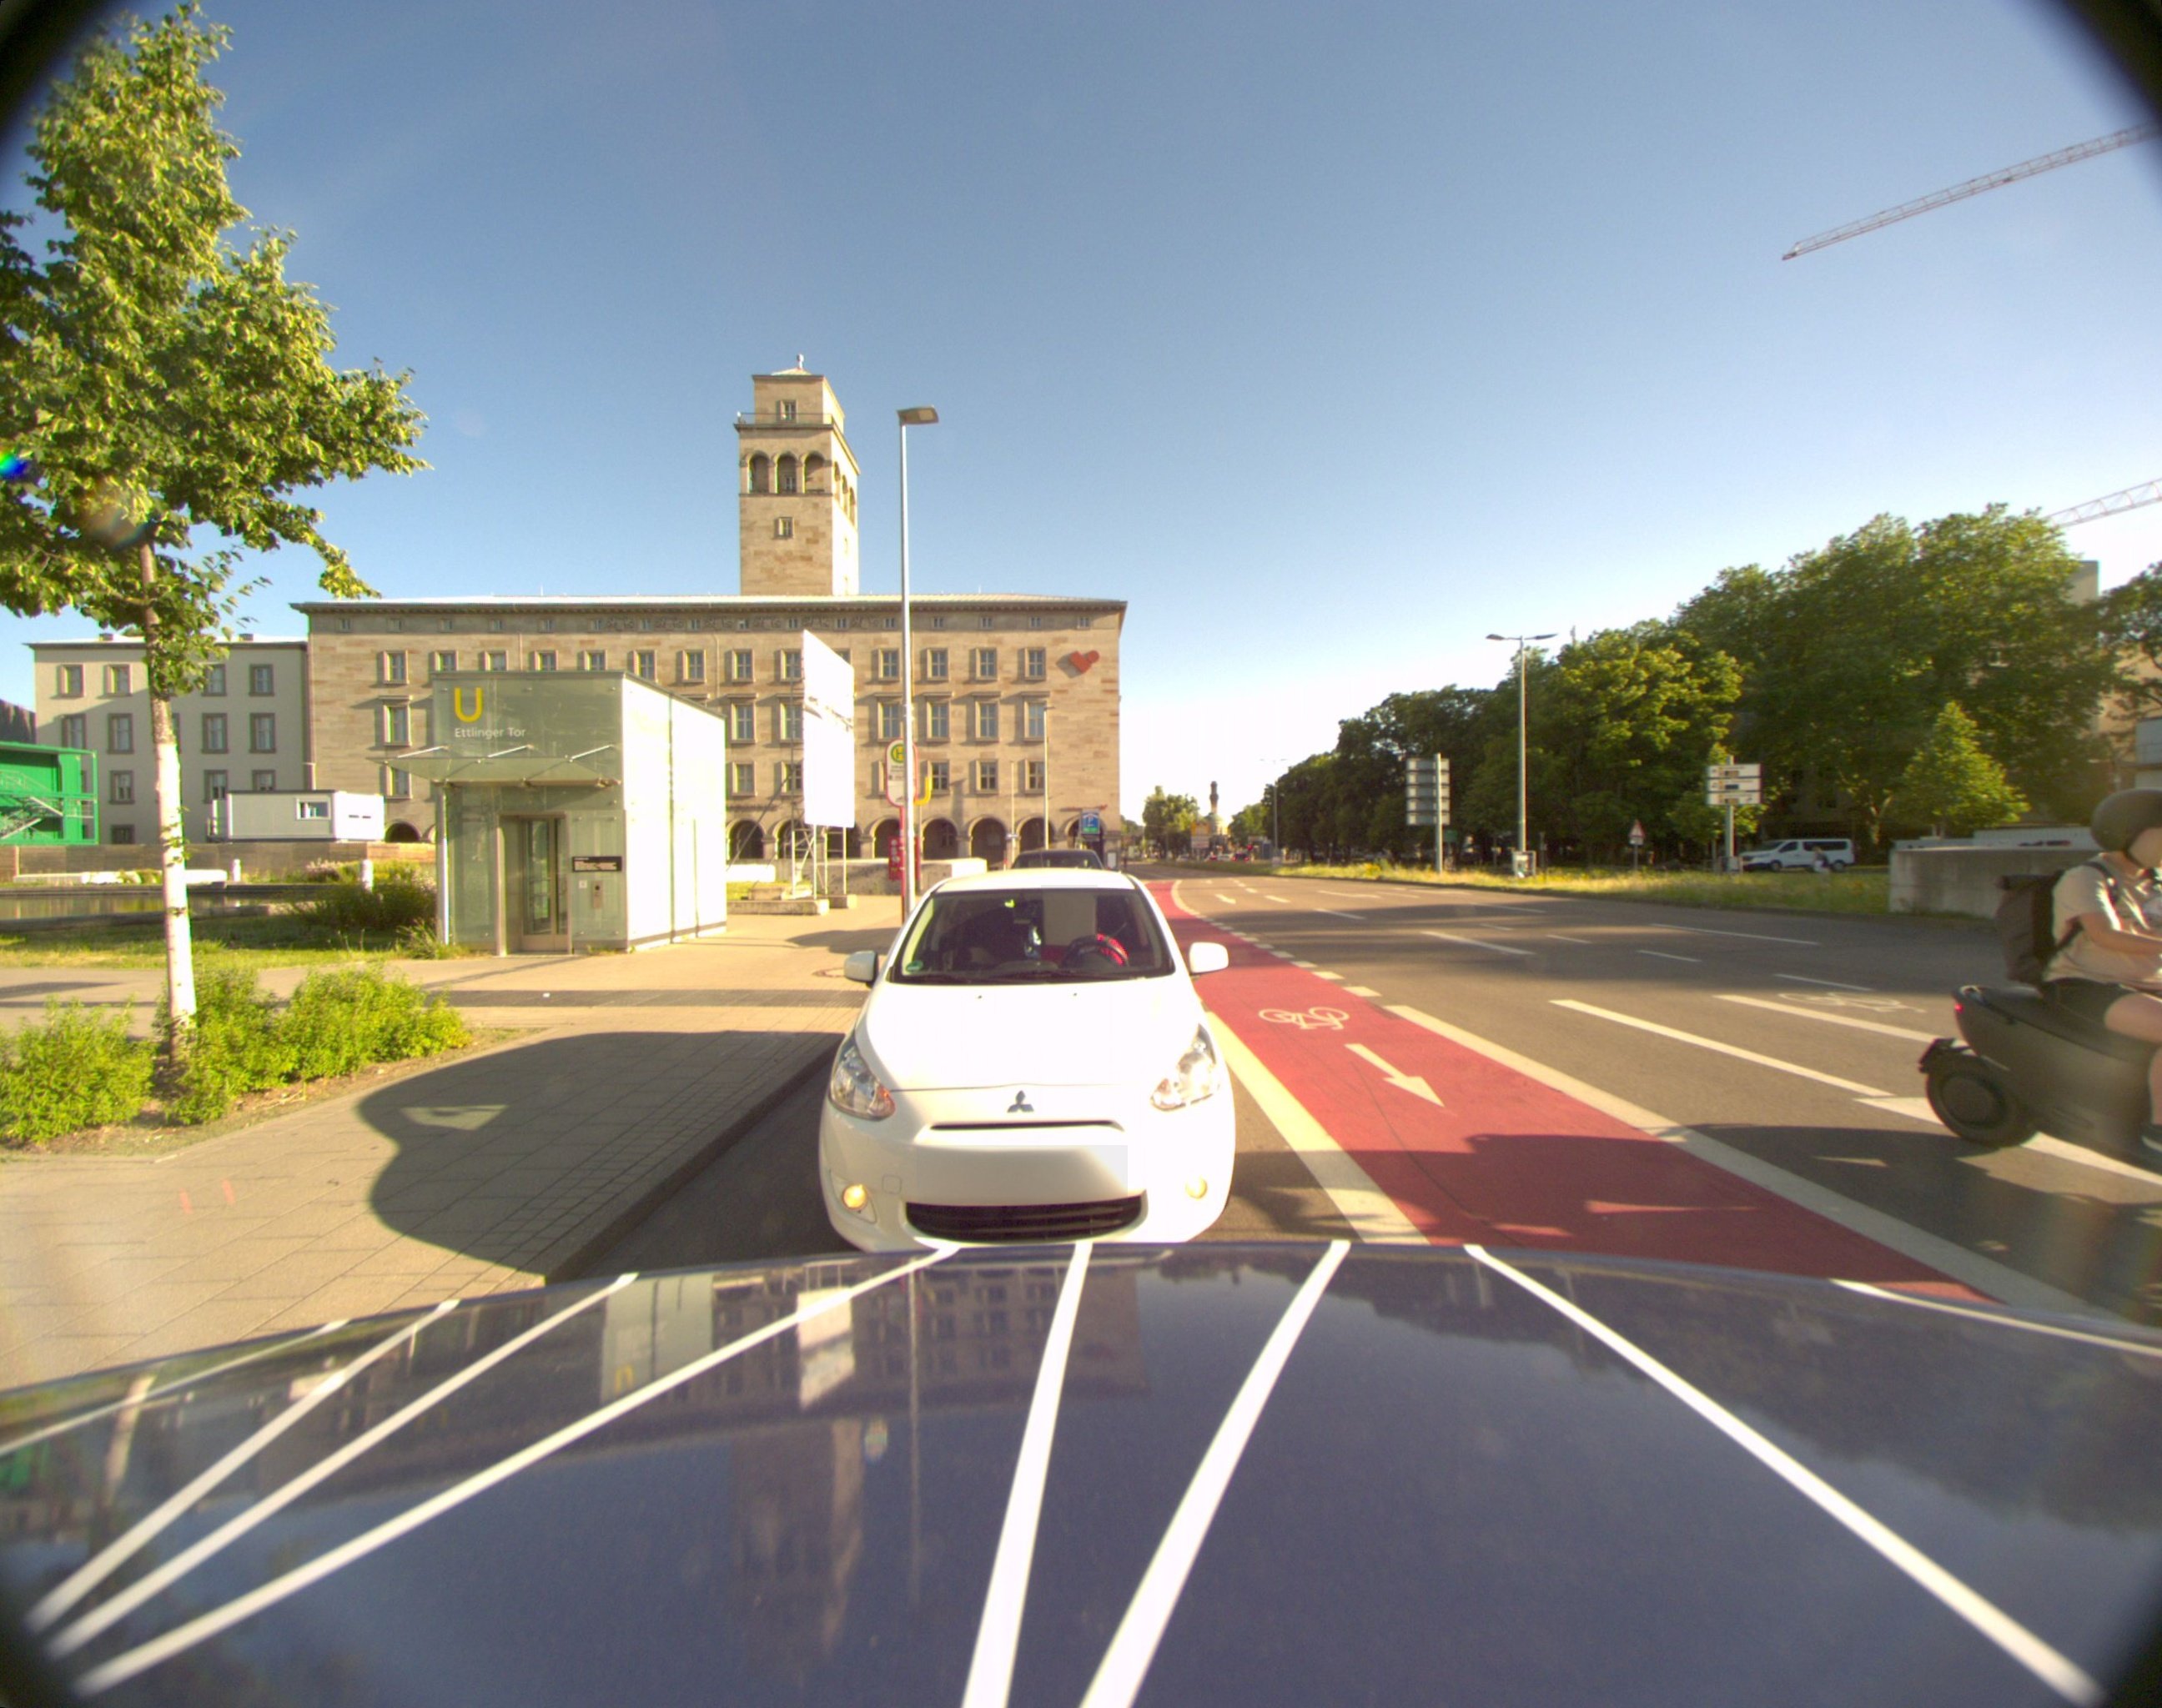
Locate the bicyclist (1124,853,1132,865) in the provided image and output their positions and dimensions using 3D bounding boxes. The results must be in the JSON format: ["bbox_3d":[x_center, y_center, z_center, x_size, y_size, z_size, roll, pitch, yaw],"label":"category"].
[{"bbox_3d":[5.520,0.584,90.120,0.854,1.340,0.829,-2,1,1],"label":"bicyclist"}]

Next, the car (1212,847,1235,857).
[{"bbox_3d":[26.242,-0.303,139.857,3.992,1.677,1.853,-2,1,15],"label":"car"}]

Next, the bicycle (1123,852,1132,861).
[{"bbox_3d":[5.507,0.304,90.257,0.854,1.109,2.808,-2,0,1],"label":"bicycle"}]

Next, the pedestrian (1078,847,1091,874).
[{"bbox_3d":[0.320,0.583,71.857,1.122,2.524,1.055,-2,1,1],"label":"pedestrian"}]

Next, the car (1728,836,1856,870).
[{"bbox_3d":[42.132,-0.051,45.116,5.516,1.924,2.065,-1,1,2],"label":"car"}]

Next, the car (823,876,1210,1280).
[{"bbox_3d":[-0.234,0.952,4.843,1.496,1.477,3.604,-2,0,1],"label":"car"}]

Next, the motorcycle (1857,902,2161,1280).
[{"bbox_3d":[4.283,0.897,2.890,0.724,1.286,1.884,-2,0,1],"label":"motorcycle"}]

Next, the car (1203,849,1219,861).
[{"bbox_3d":[20.582,0.110,120.445,1.747,1.778,3.947,-2,1,1],"label":"car"}]

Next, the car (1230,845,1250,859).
[{"bbox_3d":[21.713,-0.306,103.930,1.819,1.817,3.999,-2,1,1],"label":"car"}]

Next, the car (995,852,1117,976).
[{"bbox_3d":[-0.373,0.837,12.523,1.642,1.653,3.849,-2,0,-1],"label":"car"}]

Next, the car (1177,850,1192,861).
[{"bbox_3d":[16.451,0.273,120.809,1.849,1.677,3.999,-2,1,1],"label":"car"}]

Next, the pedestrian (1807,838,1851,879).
[{"bbox_3d":[34.301,0.180,34.871,0.989,1.821,1.019,-2,1,-3],"label":"pedestrian"}]

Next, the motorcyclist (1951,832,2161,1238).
[{"bbox_3d":[4.276,0.653,2.943,0.727,1.466,0.917,-2,0,1],"label":"motorcyclist"}]

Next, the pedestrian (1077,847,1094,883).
[{"bbox_3d":[0.316,0.782,54.406,1.122,2.524,1.055,-2,1,1],"label":"pedestrian"}]
